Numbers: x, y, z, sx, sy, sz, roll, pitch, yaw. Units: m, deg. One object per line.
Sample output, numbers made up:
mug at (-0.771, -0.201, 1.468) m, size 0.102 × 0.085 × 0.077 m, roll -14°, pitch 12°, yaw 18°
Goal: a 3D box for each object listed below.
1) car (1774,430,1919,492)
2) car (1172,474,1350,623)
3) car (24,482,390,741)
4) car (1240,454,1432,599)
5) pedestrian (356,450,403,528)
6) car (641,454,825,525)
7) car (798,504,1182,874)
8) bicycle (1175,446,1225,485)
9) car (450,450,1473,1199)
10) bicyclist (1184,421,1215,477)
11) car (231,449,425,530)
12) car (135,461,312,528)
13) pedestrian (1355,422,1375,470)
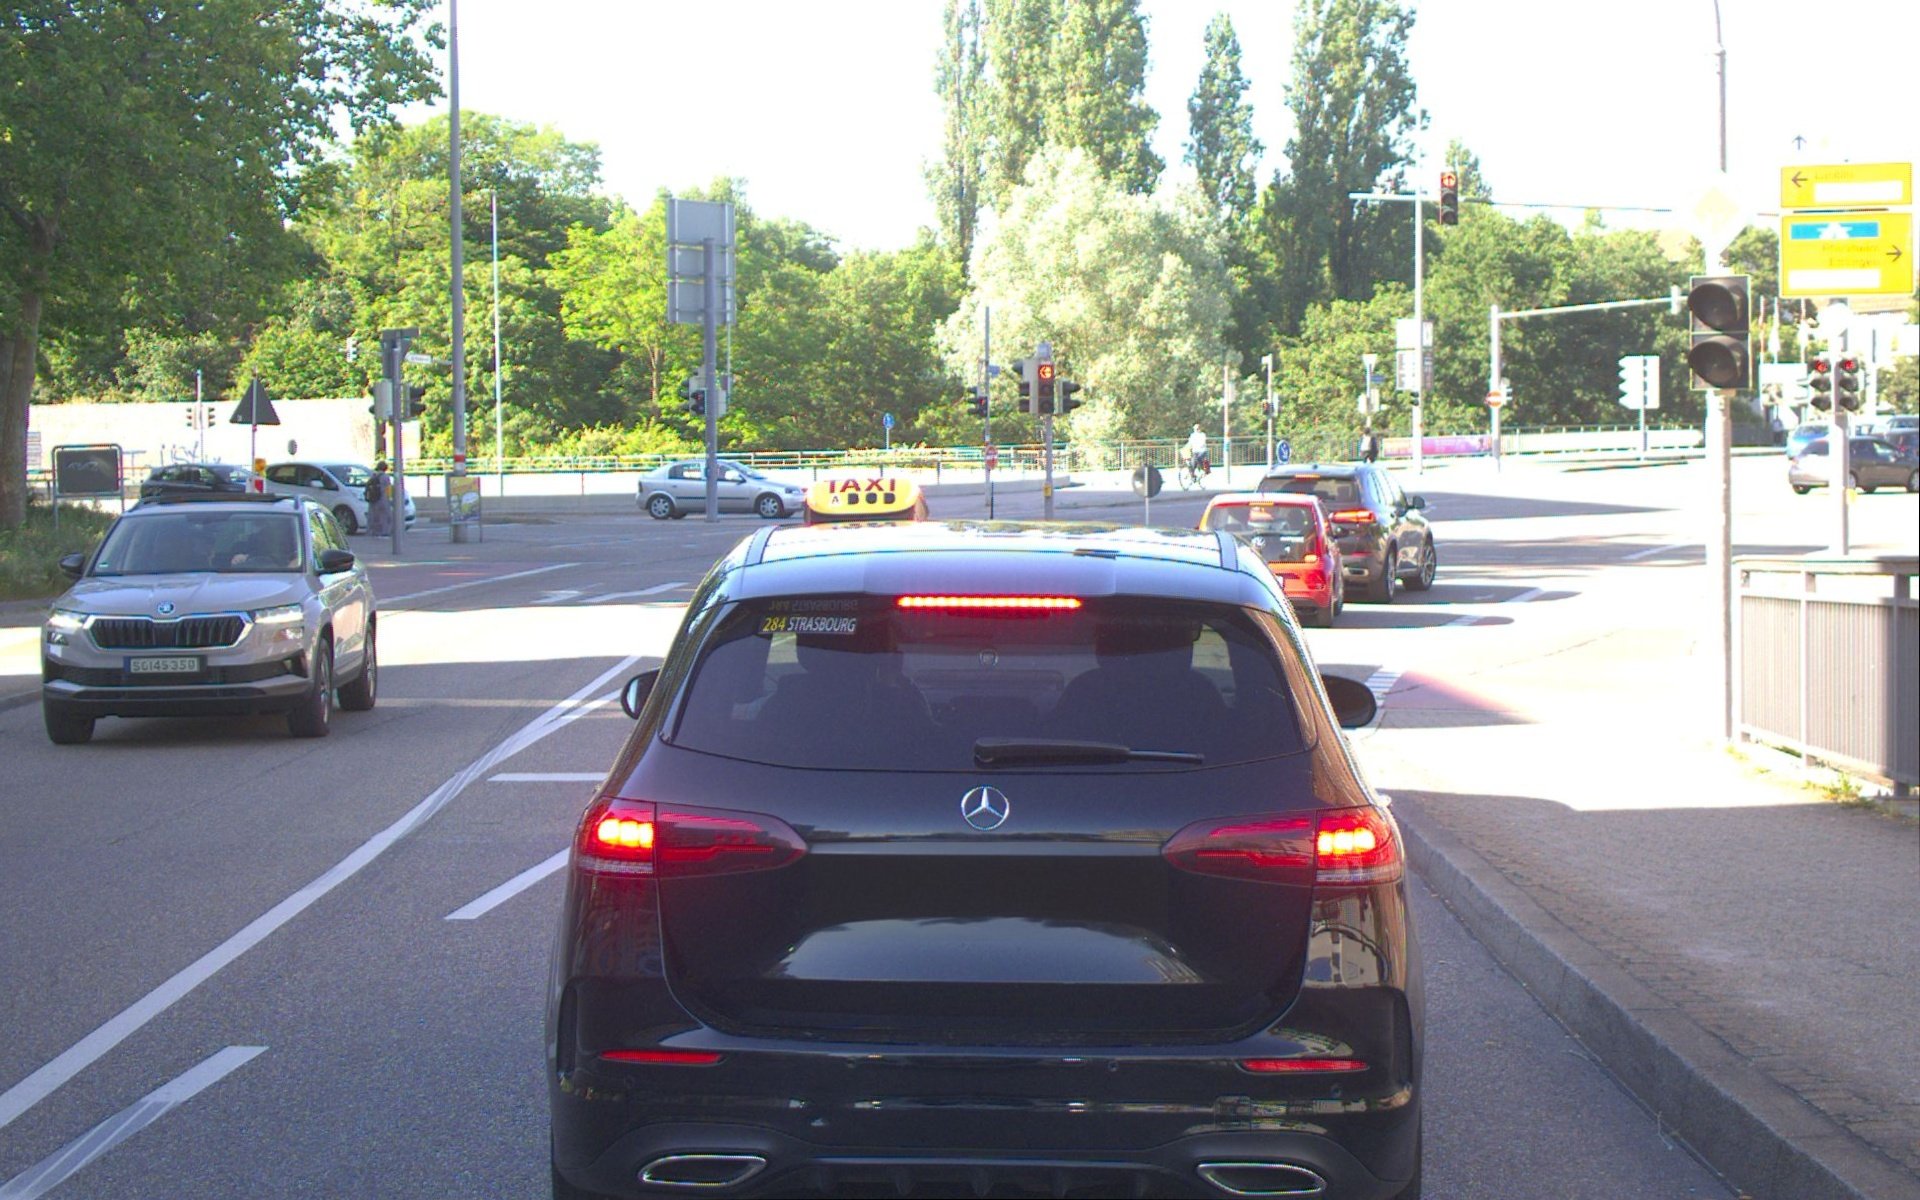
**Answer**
car at (22.748, -3.530, 87.674) m, size 3.988 × 1.492 × 1.744 m, roll -1°, pitch 1°, yaw -37°
car at (3.489, -0.627, 39.407) m, size 1.722 × 1.516 × 3.485 m, roll 0°, pitch 4°, yaw 10°
car at (-5.100, 0.003, 23.781) m, size 1.804 × 1.618 × 4.001 m, roll -1°, pitch 2°, yaw -3°
car at (4.973, -0.970, 45.039) m, size 1.723 × 1.806 × 4.294 m, roll 0°, pitch 1°, yaw 17°
pedestrian at (-11.474, -2.201, 67.997) m, size 0.705 × 1.520 × 0.743 m, roll 1°, pitch 2°, yaw 10°
car at (-5.331, -2.604, 81.081) m, size 3.988 × 1.624 × 1.890 m, roll 0°, pitch 2°, yaw 10°
car at (0.182, 0.342, 16.697) m, size 1.640 × 1.524 × 3.474 m, roll -1°, pitch 2°, yaw 2°
bicycle at (6.757, -3.784, 96.840) m, size 0.526 × 1.046 × 1.987 m, roll 0°, pitch 3°, yaw 31°
car at (-0.023, 0.484, 8.374) m, size 1.878 × 1.608 × 4.000 m, roll 1°, pitch 2°, yaw -1°
bicyclist at (6.755, -4.264, 96.810) m, size 0.526 × 1.545 × 0.805 m, roll 0°, pitch 3°, yaw 31°
car at (-13.532, -2.369, 73.547) m, size 3.995 × 1.629 × 1.780 m, roll 1°, pitch 4°, yaw 36°
car at (-18.338, -2.632, 85.589) m, size 3.993 × 1.624 × 1.888 m, roll 1°, pitch 2°, yaw 28°
pedestrian at (13.396, -5.086, 113.698) m, size 0.451 × 1.580 × 0.500 m, roll 1°, pitch 3°, yaw 40°
